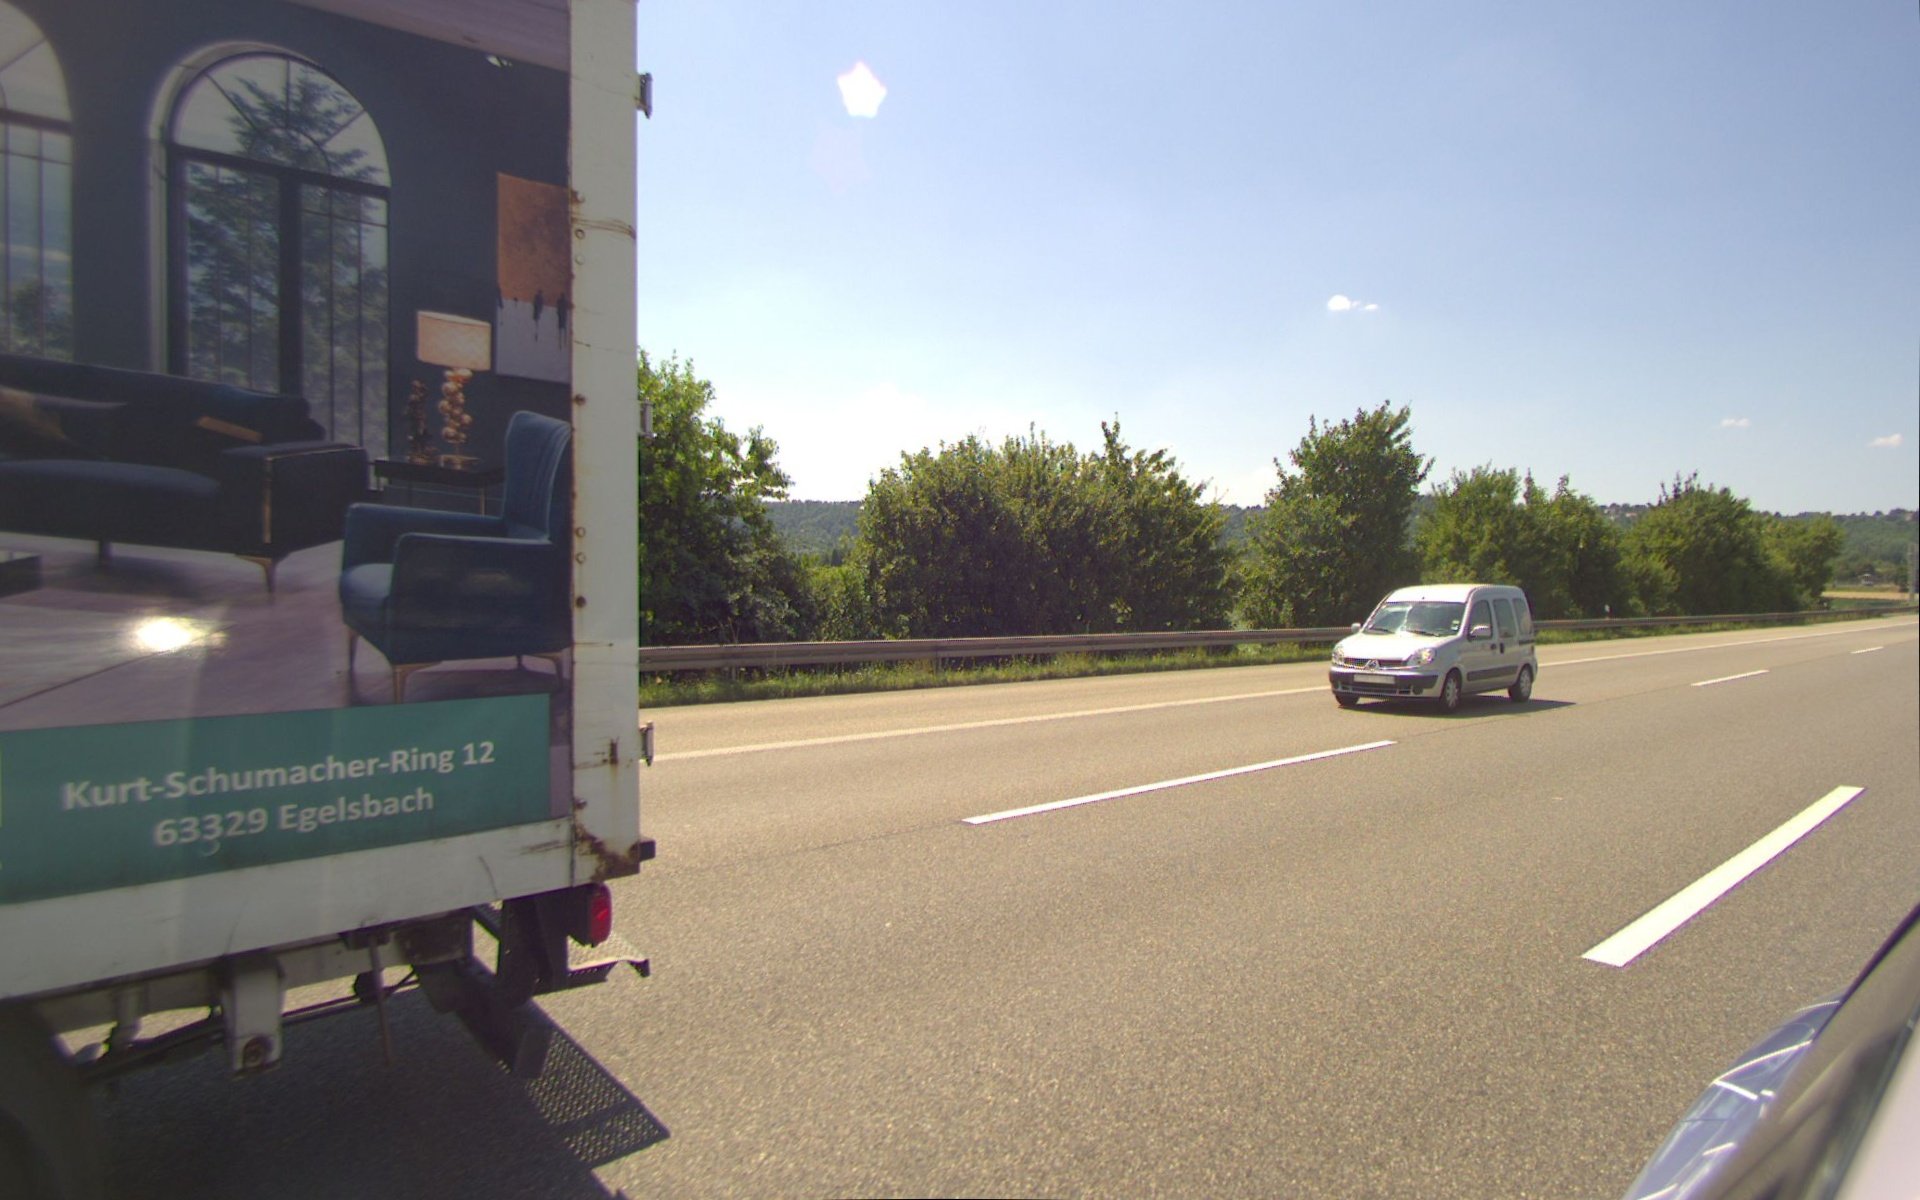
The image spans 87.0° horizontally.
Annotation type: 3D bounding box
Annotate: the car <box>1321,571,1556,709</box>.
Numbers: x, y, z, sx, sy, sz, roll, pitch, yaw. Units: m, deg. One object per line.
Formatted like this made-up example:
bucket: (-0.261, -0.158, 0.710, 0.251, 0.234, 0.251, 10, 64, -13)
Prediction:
car: (7.047, 0.505, 14.749, 3.902, 1.759, 1.630, 0, 0, -40)

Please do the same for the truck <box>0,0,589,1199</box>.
truck: (-4.107, -0.139, 1.042, 6.634, 3.106, 2.324, 0, 0, -42)
